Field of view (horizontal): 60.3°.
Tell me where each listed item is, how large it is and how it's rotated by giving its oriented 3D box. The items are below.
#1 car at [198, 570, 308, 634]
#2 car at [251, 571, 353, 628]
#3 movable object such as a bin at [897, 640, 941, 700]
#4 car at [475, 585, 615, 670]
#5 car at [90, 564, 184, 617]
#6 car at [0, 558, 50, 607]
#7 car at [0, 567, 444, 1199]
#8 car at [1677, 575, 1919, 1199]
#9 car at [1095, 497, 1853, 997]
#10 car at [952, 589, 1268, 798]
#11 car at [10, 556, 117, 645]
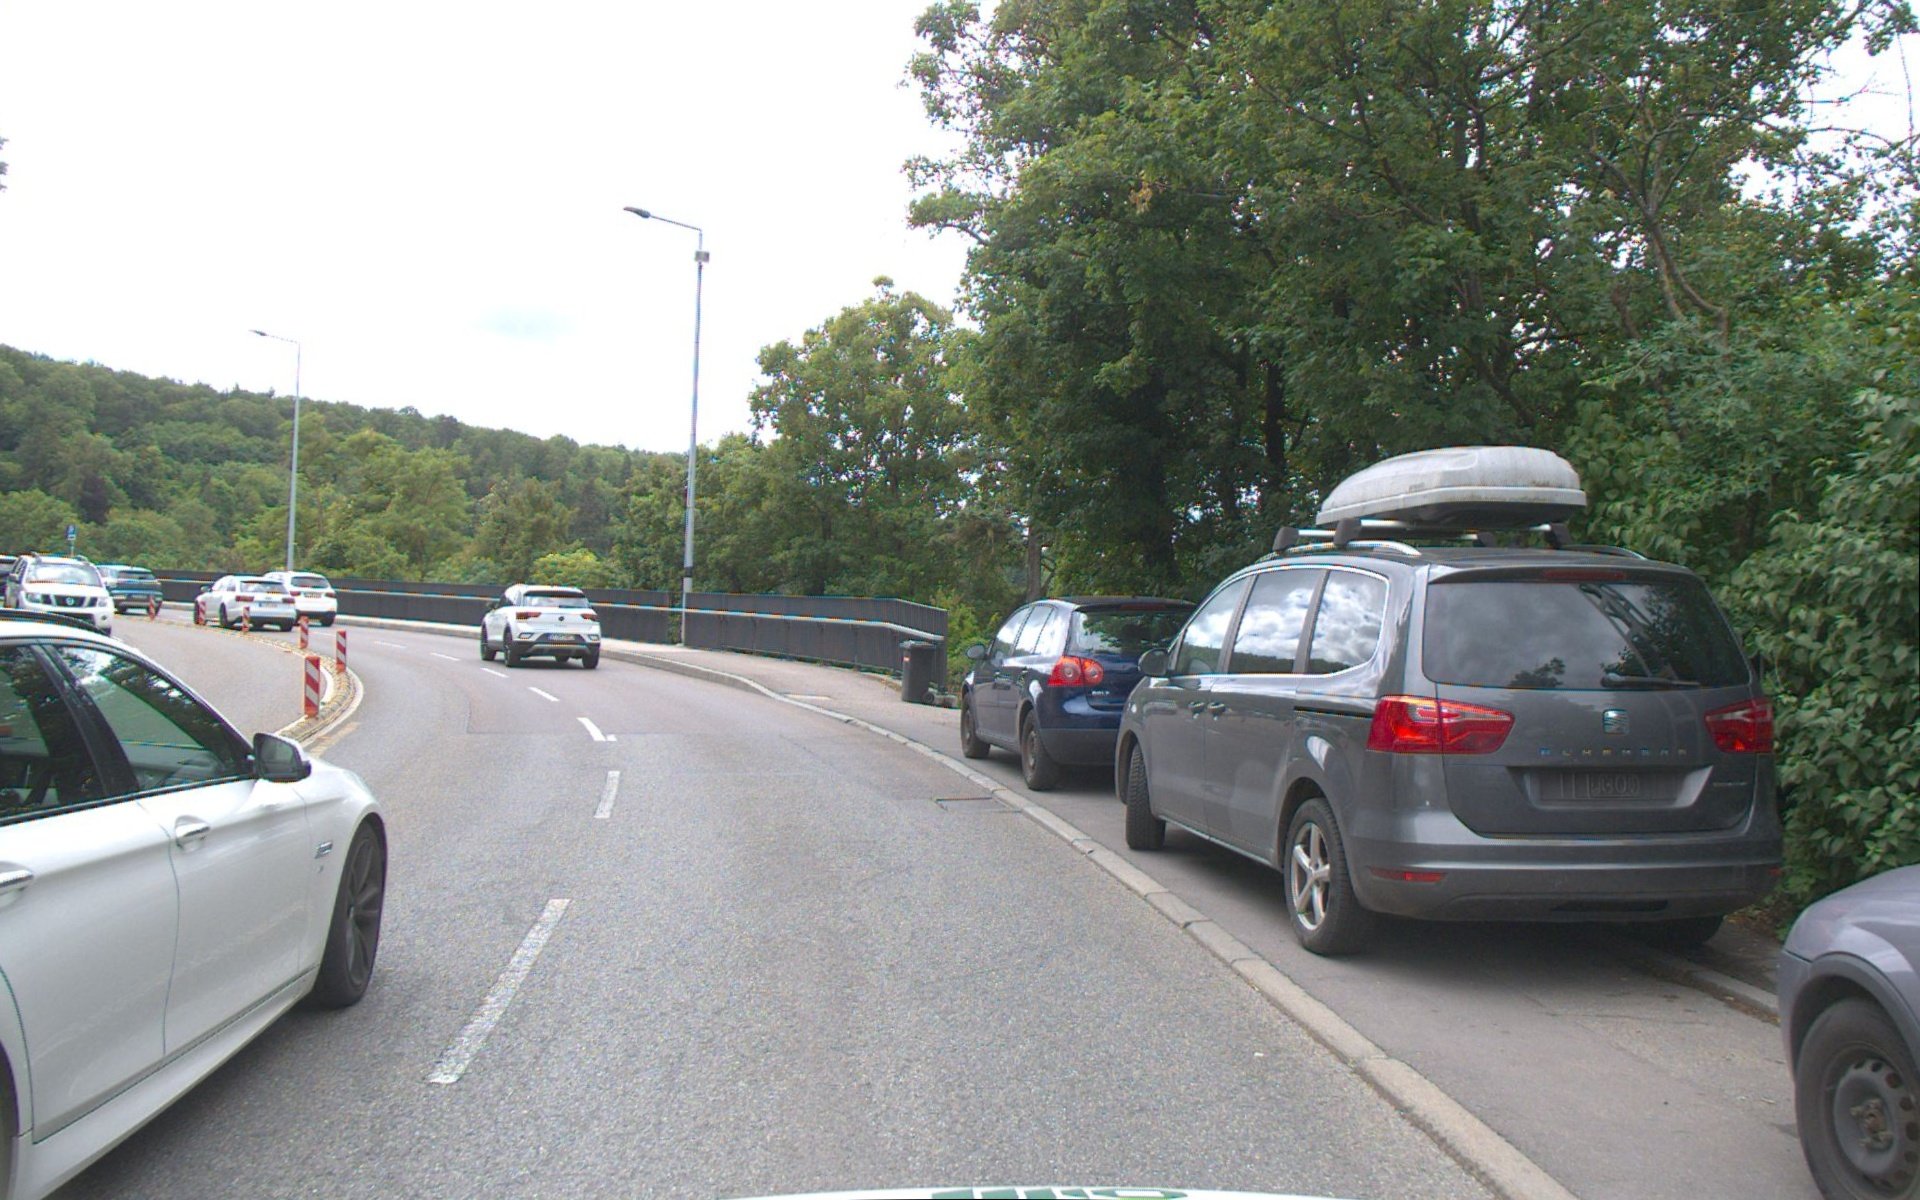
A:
[{"bbox_3d":[-19.935,0.045,46.551,1.892,1.601,3.948,3,0,-37],"label":"car"},{"bbox_3d":[-21.017,-0.023,52.765,1.979,1.614,3.947,3,0,-37],"label":"car"},{"bbox_3d":[-0.644,1.092,25.797,0.512,0.896,0.529,3,0,-20],"label":"movable object such as a bin"},{"bbox_3d":[-8.335,0.515,32.984,1.846,1.563,3.769,2,-1,-28],"label":"car"},{"bbox_3d":[-27.663,-0.330,55.528,1.980,1.567,3.954,3,0,-39],"label":"car"},{"bbox_3d":[-36.528,-0.724,62.657,3.914,1.719,1.817,3,0,31],"label":"car"},{"bbox_3d":[-2.844,0.671,4.176,1.812,1.492,4.874,3,0,-4],"label":"car"},{"bbox_3d":[2.858,0.711,2.771,1.607,1.489,4.000,2,0,1],"label":"car"},{"bbox_3d":[2.127,0.537,8.392,1.765,1.803,4.597,1,0,-10],"label":"car"},{"bbox_3d":[1.114,0.690,14.210,1.630,1.513,4.024,2,0,-11],"label":"car"},{"bbox_3d":[-20.356,-0.028,37.454,1.891,1.860,5.251,1,1,-31],"label":"car"}]
